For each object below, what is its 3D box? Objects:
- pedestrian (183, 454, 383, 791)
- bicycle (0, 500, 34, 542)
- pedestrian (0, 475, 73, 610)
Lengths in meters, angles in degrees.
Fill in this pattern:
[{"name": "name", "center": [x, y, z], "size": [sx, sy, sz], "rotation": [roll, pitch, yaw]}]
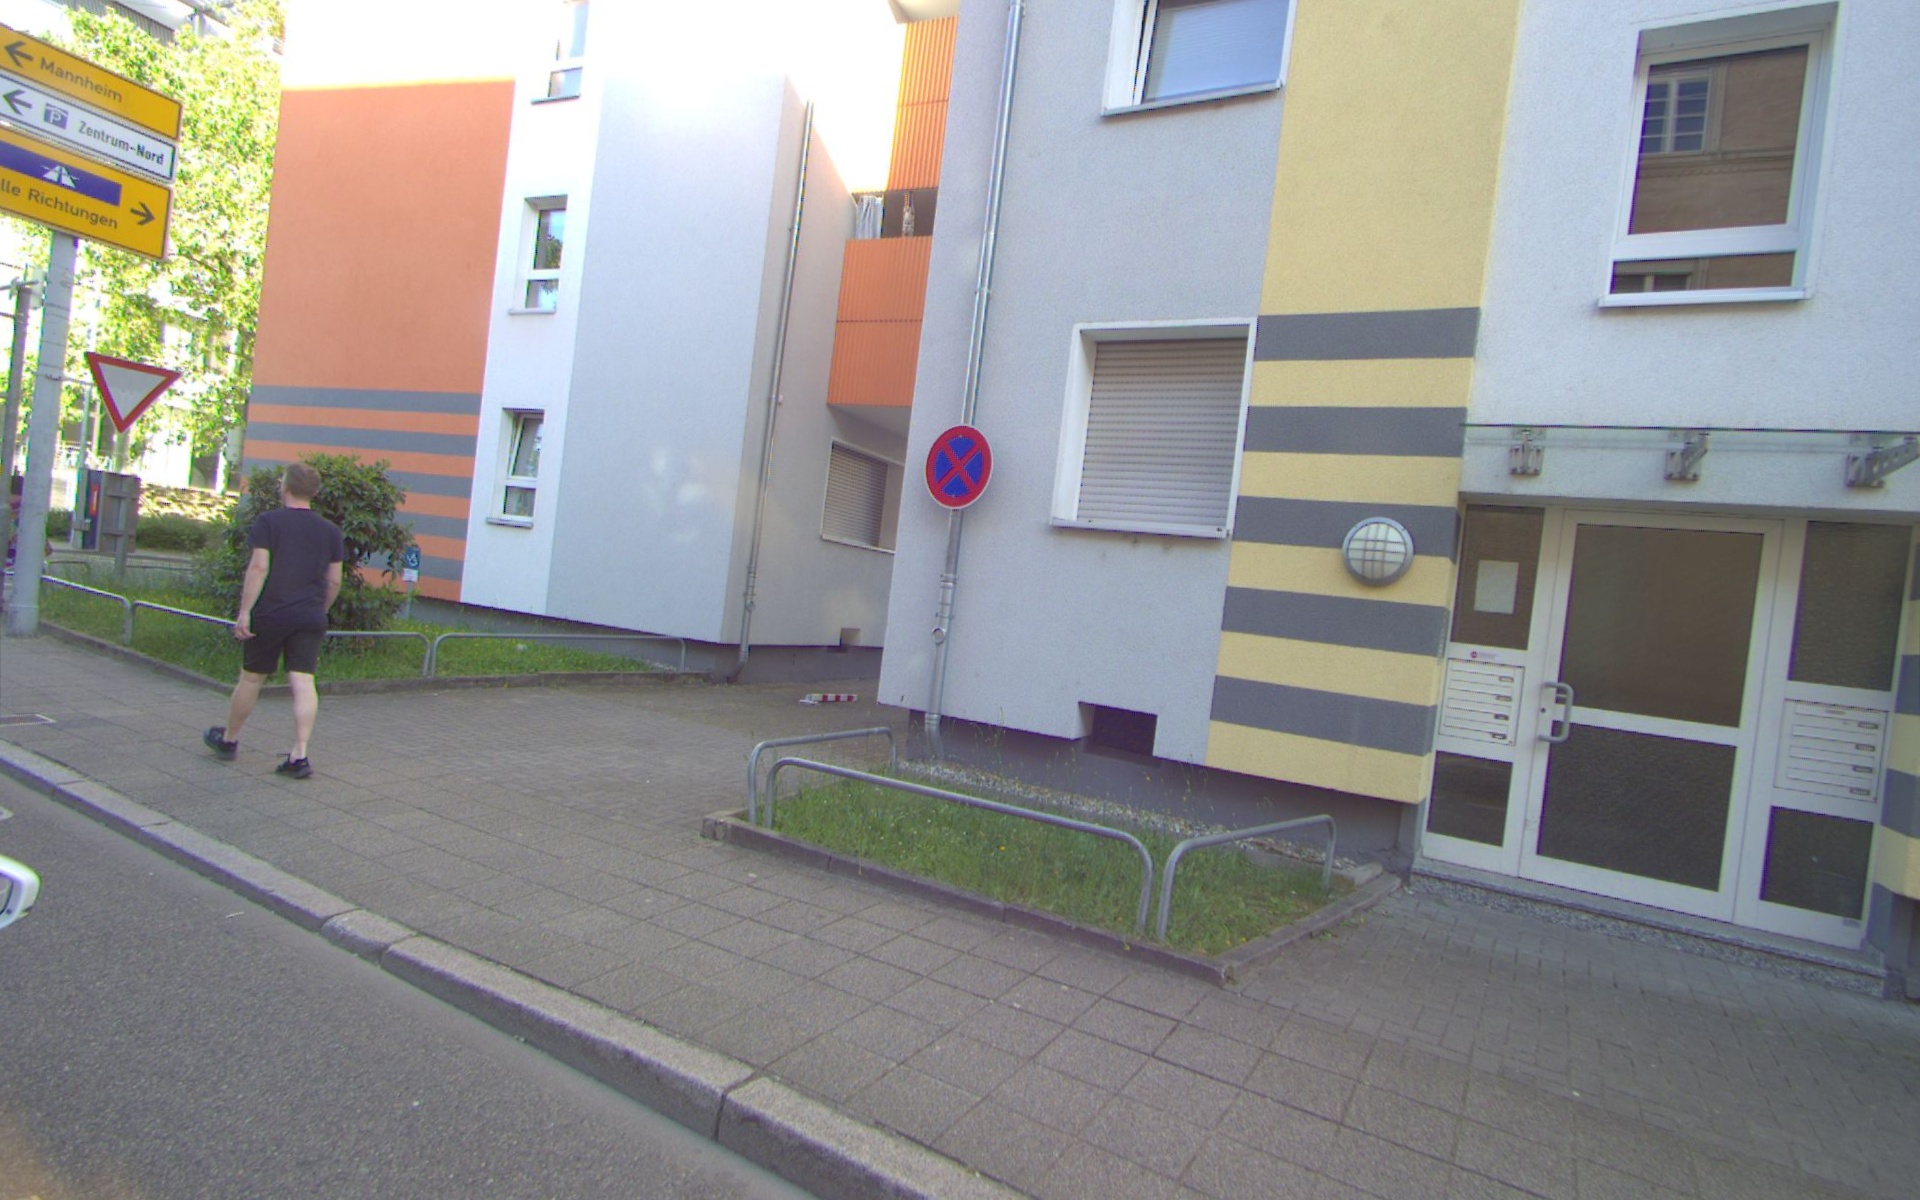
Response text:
[{"name": "pedestrian", "center": [-4.004, 0.098, 5.943], "size": [0.901, 1.813, 0.643], "rotation": [7, 4, 35]}, {"name": "bicycle", "center": [-26.416, -2.235, 27.279], "size": [1.883, 1.062, 0.463], "rotation": [7, 1, -10]}, {"name": "pedestrian", "center": [-11.774, -0.732, 12.457], "size": [0.943, 1.595, 0.746], "rotation": [4, 4, -20]}]
